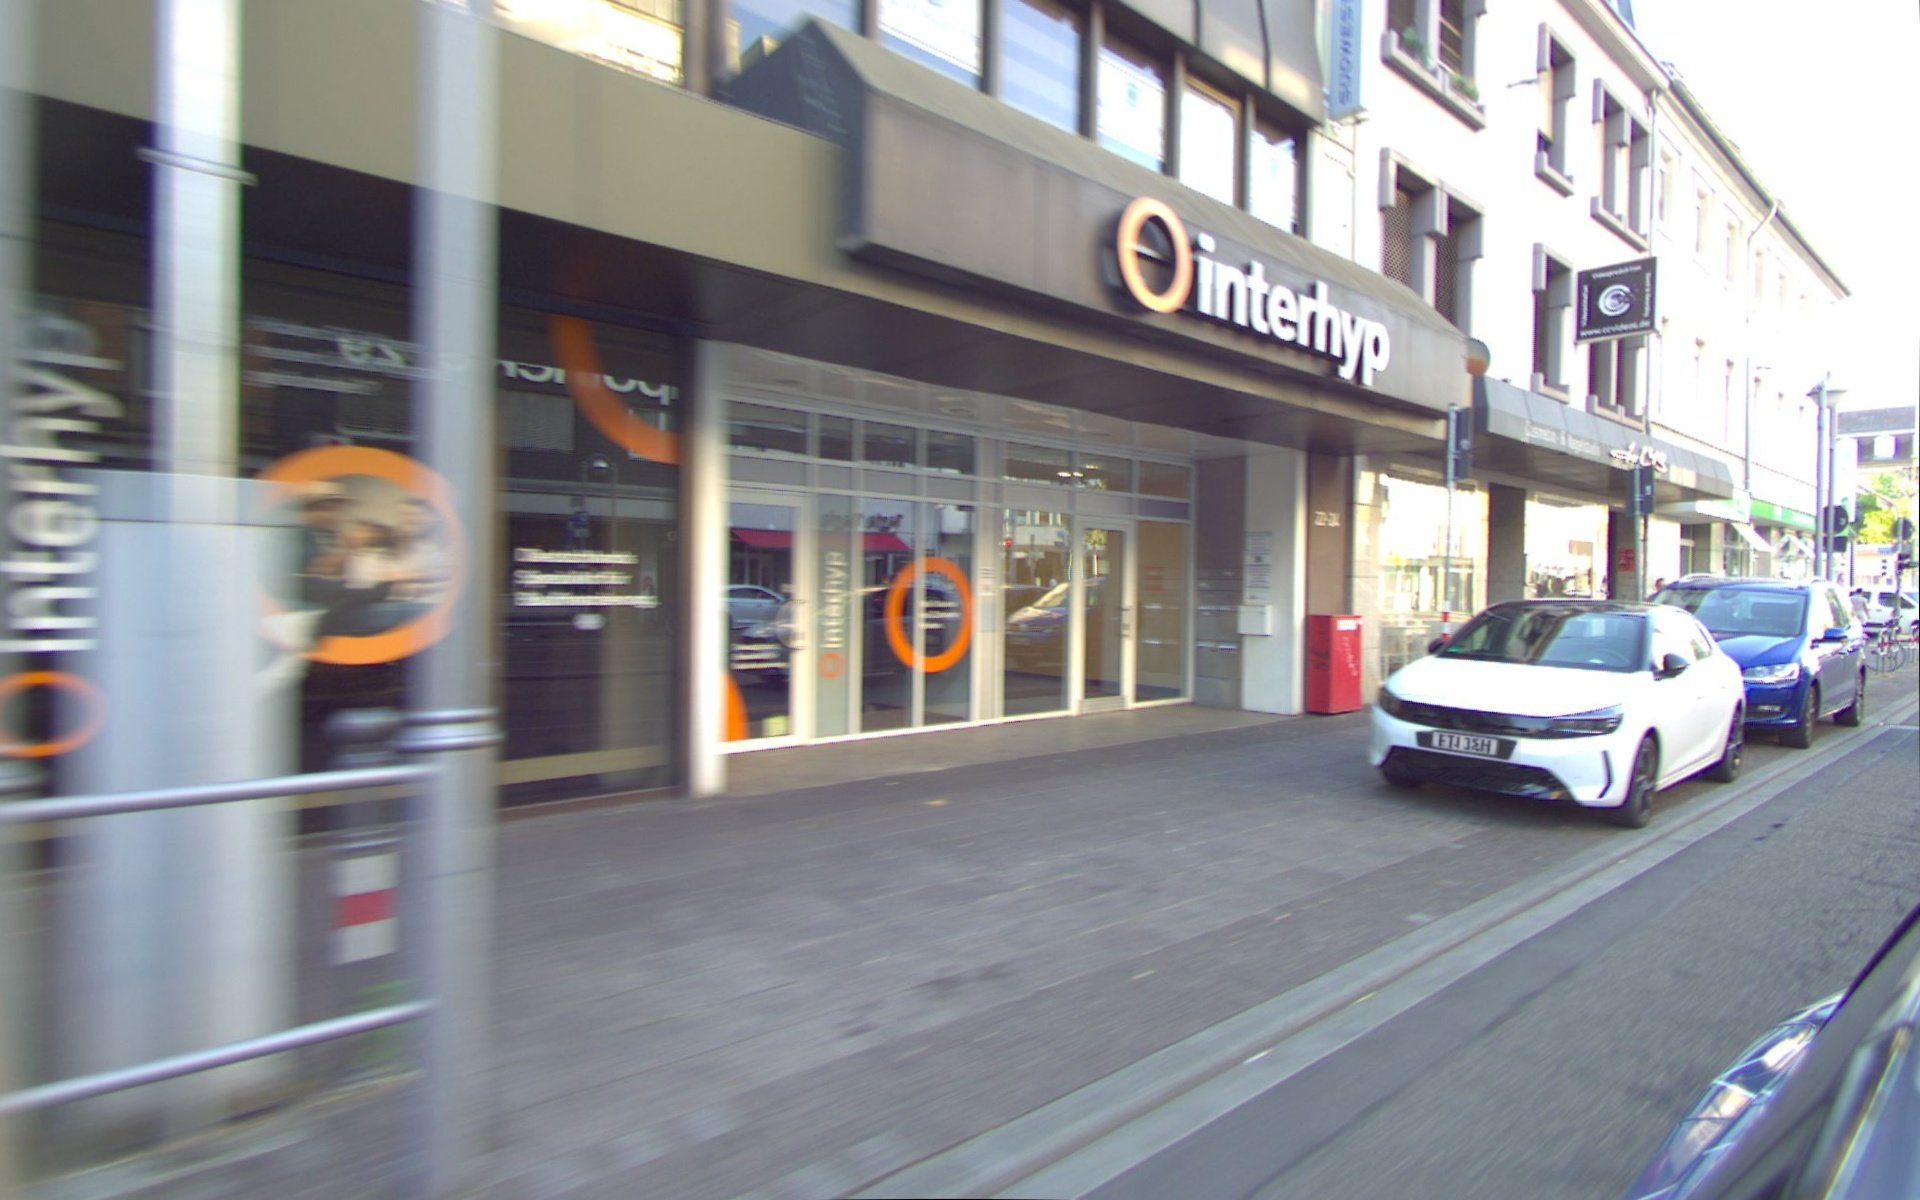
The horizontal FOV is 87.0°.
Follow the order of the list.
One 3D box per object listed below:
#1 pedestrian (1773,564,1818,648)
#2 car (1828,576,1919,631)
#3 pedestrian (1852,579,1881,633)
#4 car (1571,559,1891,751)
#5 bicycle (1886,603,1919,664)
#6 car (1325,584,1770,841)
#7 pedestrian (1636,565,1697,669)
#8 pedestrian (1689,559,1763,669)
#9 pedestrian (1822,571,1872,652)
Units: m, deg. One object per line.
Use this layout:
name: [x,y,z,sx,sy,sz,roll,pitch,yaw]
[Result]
pedestrian: [20.017,0.121,24.236,0.864,1.951,0.662,0,2,-42]
car: [32.577,0.107,34.526,1.790,1.820,4.293,0,1,-12]
pedestrian: [30.114,0.185,33.607,0.691,1.764,0.644,1,1,43]
car: [8.965,0.459,11.619,4.496,1.748,1.998,-1,3,-41]
bicycle: [19.077,0.652,20.358,1.465,1.161,0.534,-1,2,-43]
car: [4.670,0.642,7.839,3.818,1.450,1.799,0,2,-41]
pedestrian: [12.273,0.284,17.580,0.666,1.739,0.651,0,3,-40]
pedestrian: [13.218,0.224,17.459,0.911,1.828,0.768,0,2,-39]
pedestrian: [20.736,0.252,23.664,0.836,1.851,0.738,0,2,-42]
